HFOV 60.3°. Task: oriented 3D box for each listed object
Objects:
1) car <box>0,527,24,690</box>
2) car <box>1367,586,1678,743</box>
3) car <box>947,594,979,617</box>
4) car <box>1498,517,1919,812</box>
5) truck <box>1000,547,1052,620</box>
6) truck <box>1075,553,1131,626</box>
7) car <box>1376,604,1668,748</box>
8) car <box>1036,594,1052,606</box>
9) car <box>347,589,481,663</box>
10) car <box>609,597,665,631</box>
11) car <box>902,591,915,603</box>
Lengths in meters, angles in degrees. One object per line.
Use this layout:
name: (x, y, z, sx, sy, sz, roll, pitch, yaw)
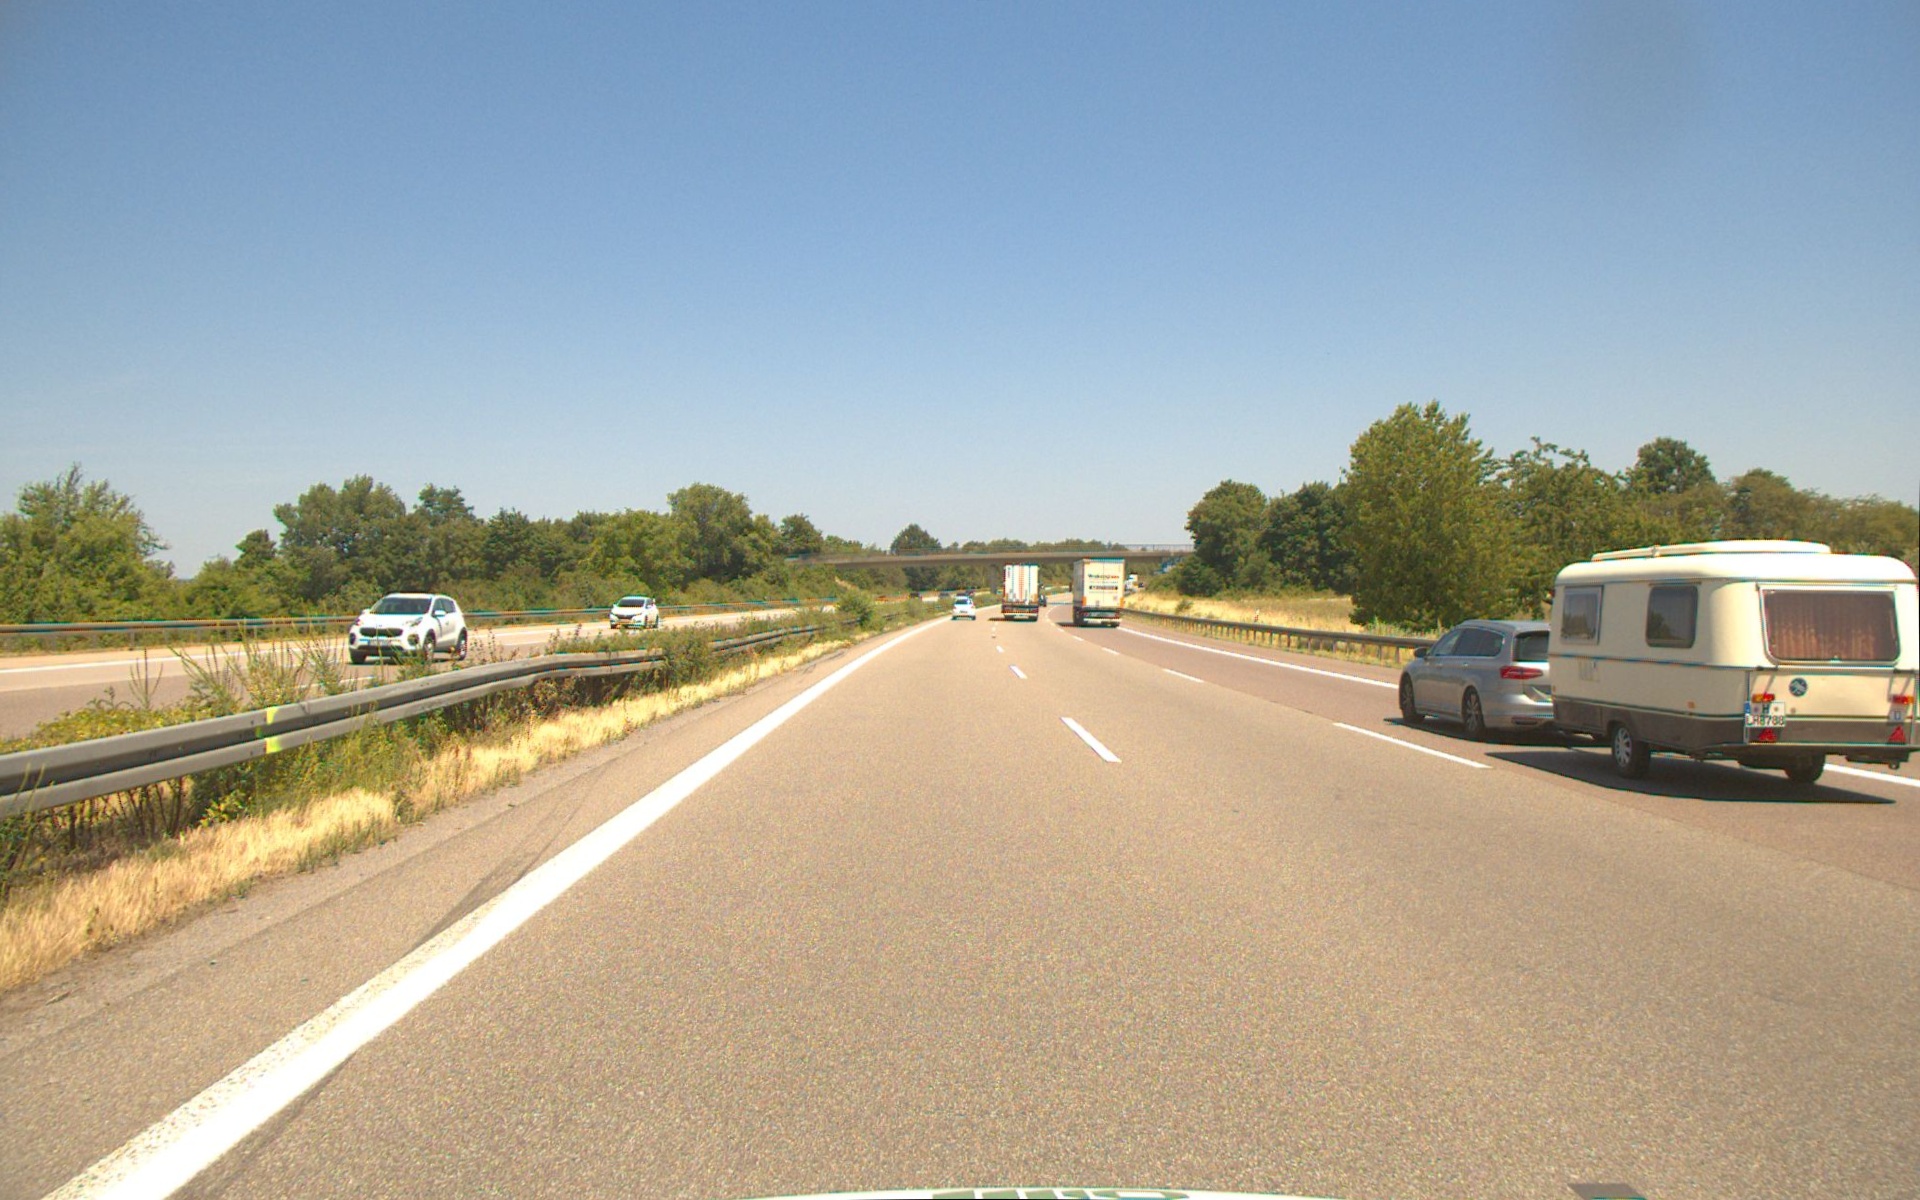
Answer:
car: (-17.049, 0.116, 24.735, 1.952, 2.733, 7.182, 0, 0, 0)
car: (7.079, 0.708, 21.568, 2.004, 1.687, 5.508, 0, 1, -2)
car: (0.237, 0.378, 120.311, 1.789, 1.574, 4.322, 1, 0, 7)
car: (7.365, 0.455, 16.023, 2.393, 2.362, 5.320, -1, 1, -2)
truck: (5.029, -1.276, 124.280, 3.590, 5.106, 16.024, 1, 1, 3)
truck: (9.128, -0.757, 107.414, 3.114, 4.379, 16.025, 1, 1, 3)
car: (7.107, 0.877, 21.601, 1.849, 1.542, 5.378, 1, 0, -1)
car: (10.715, -0.001, 210.968, 1.789, 1.574, 4.322, 1, 0, 7)
car: (-13.453, 0.629, 41.050, 1.751, 1.710, 4.900, 0, 0, -1)
car: (-16.295, 0.669, 83.571, 1.711, 1.567, 4.828, 2, 1, 2)
car: (-7.660, -0.446, 246.336, 1.745, 1.690, 4.658, 0, 0, 2)
